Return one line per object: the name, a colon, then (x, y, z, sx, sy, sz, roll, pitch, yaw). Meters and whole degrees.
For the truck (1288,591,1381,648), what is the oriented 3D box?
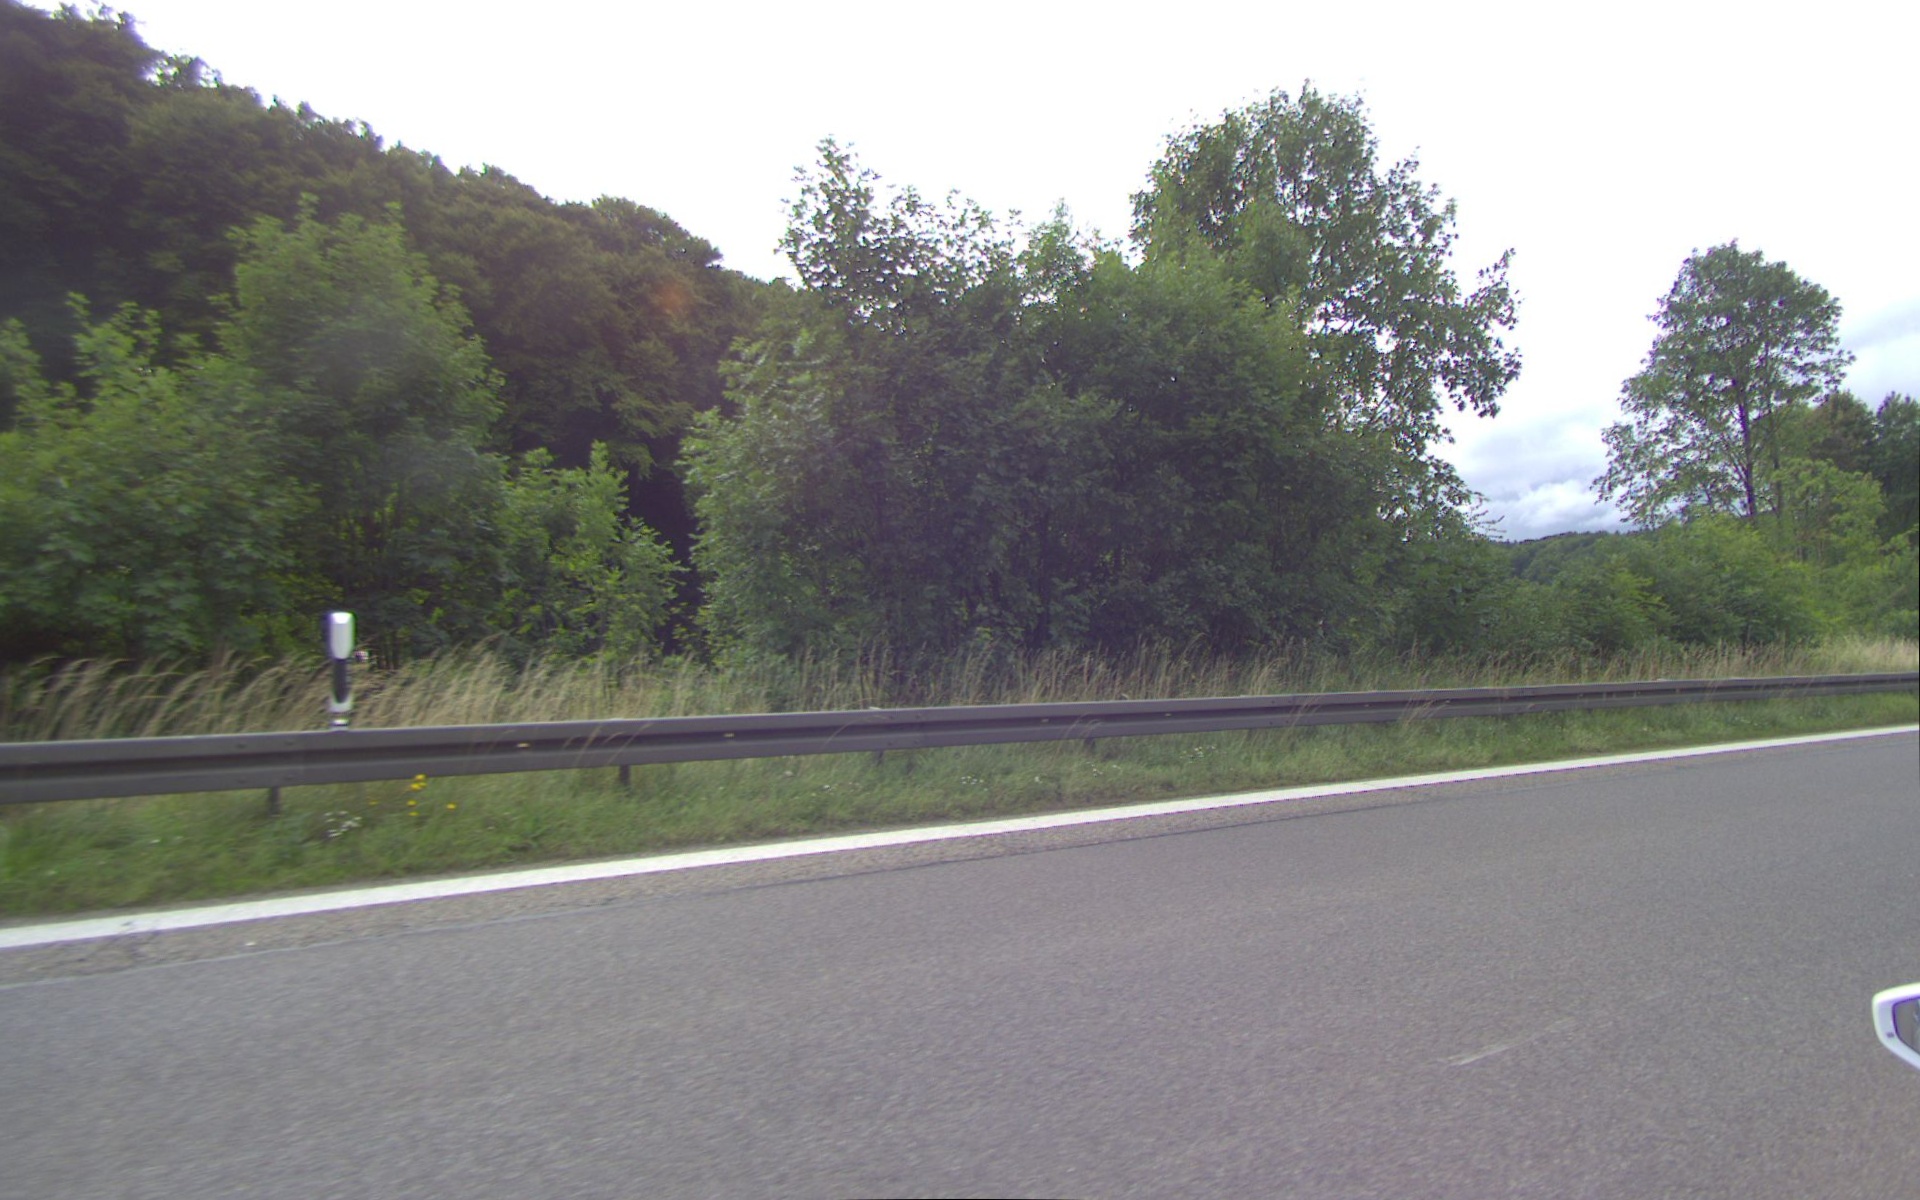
truck: (22.980, 1.165, 61.527, 5.692, 3.263, 3.121, 1, 0, -44)
